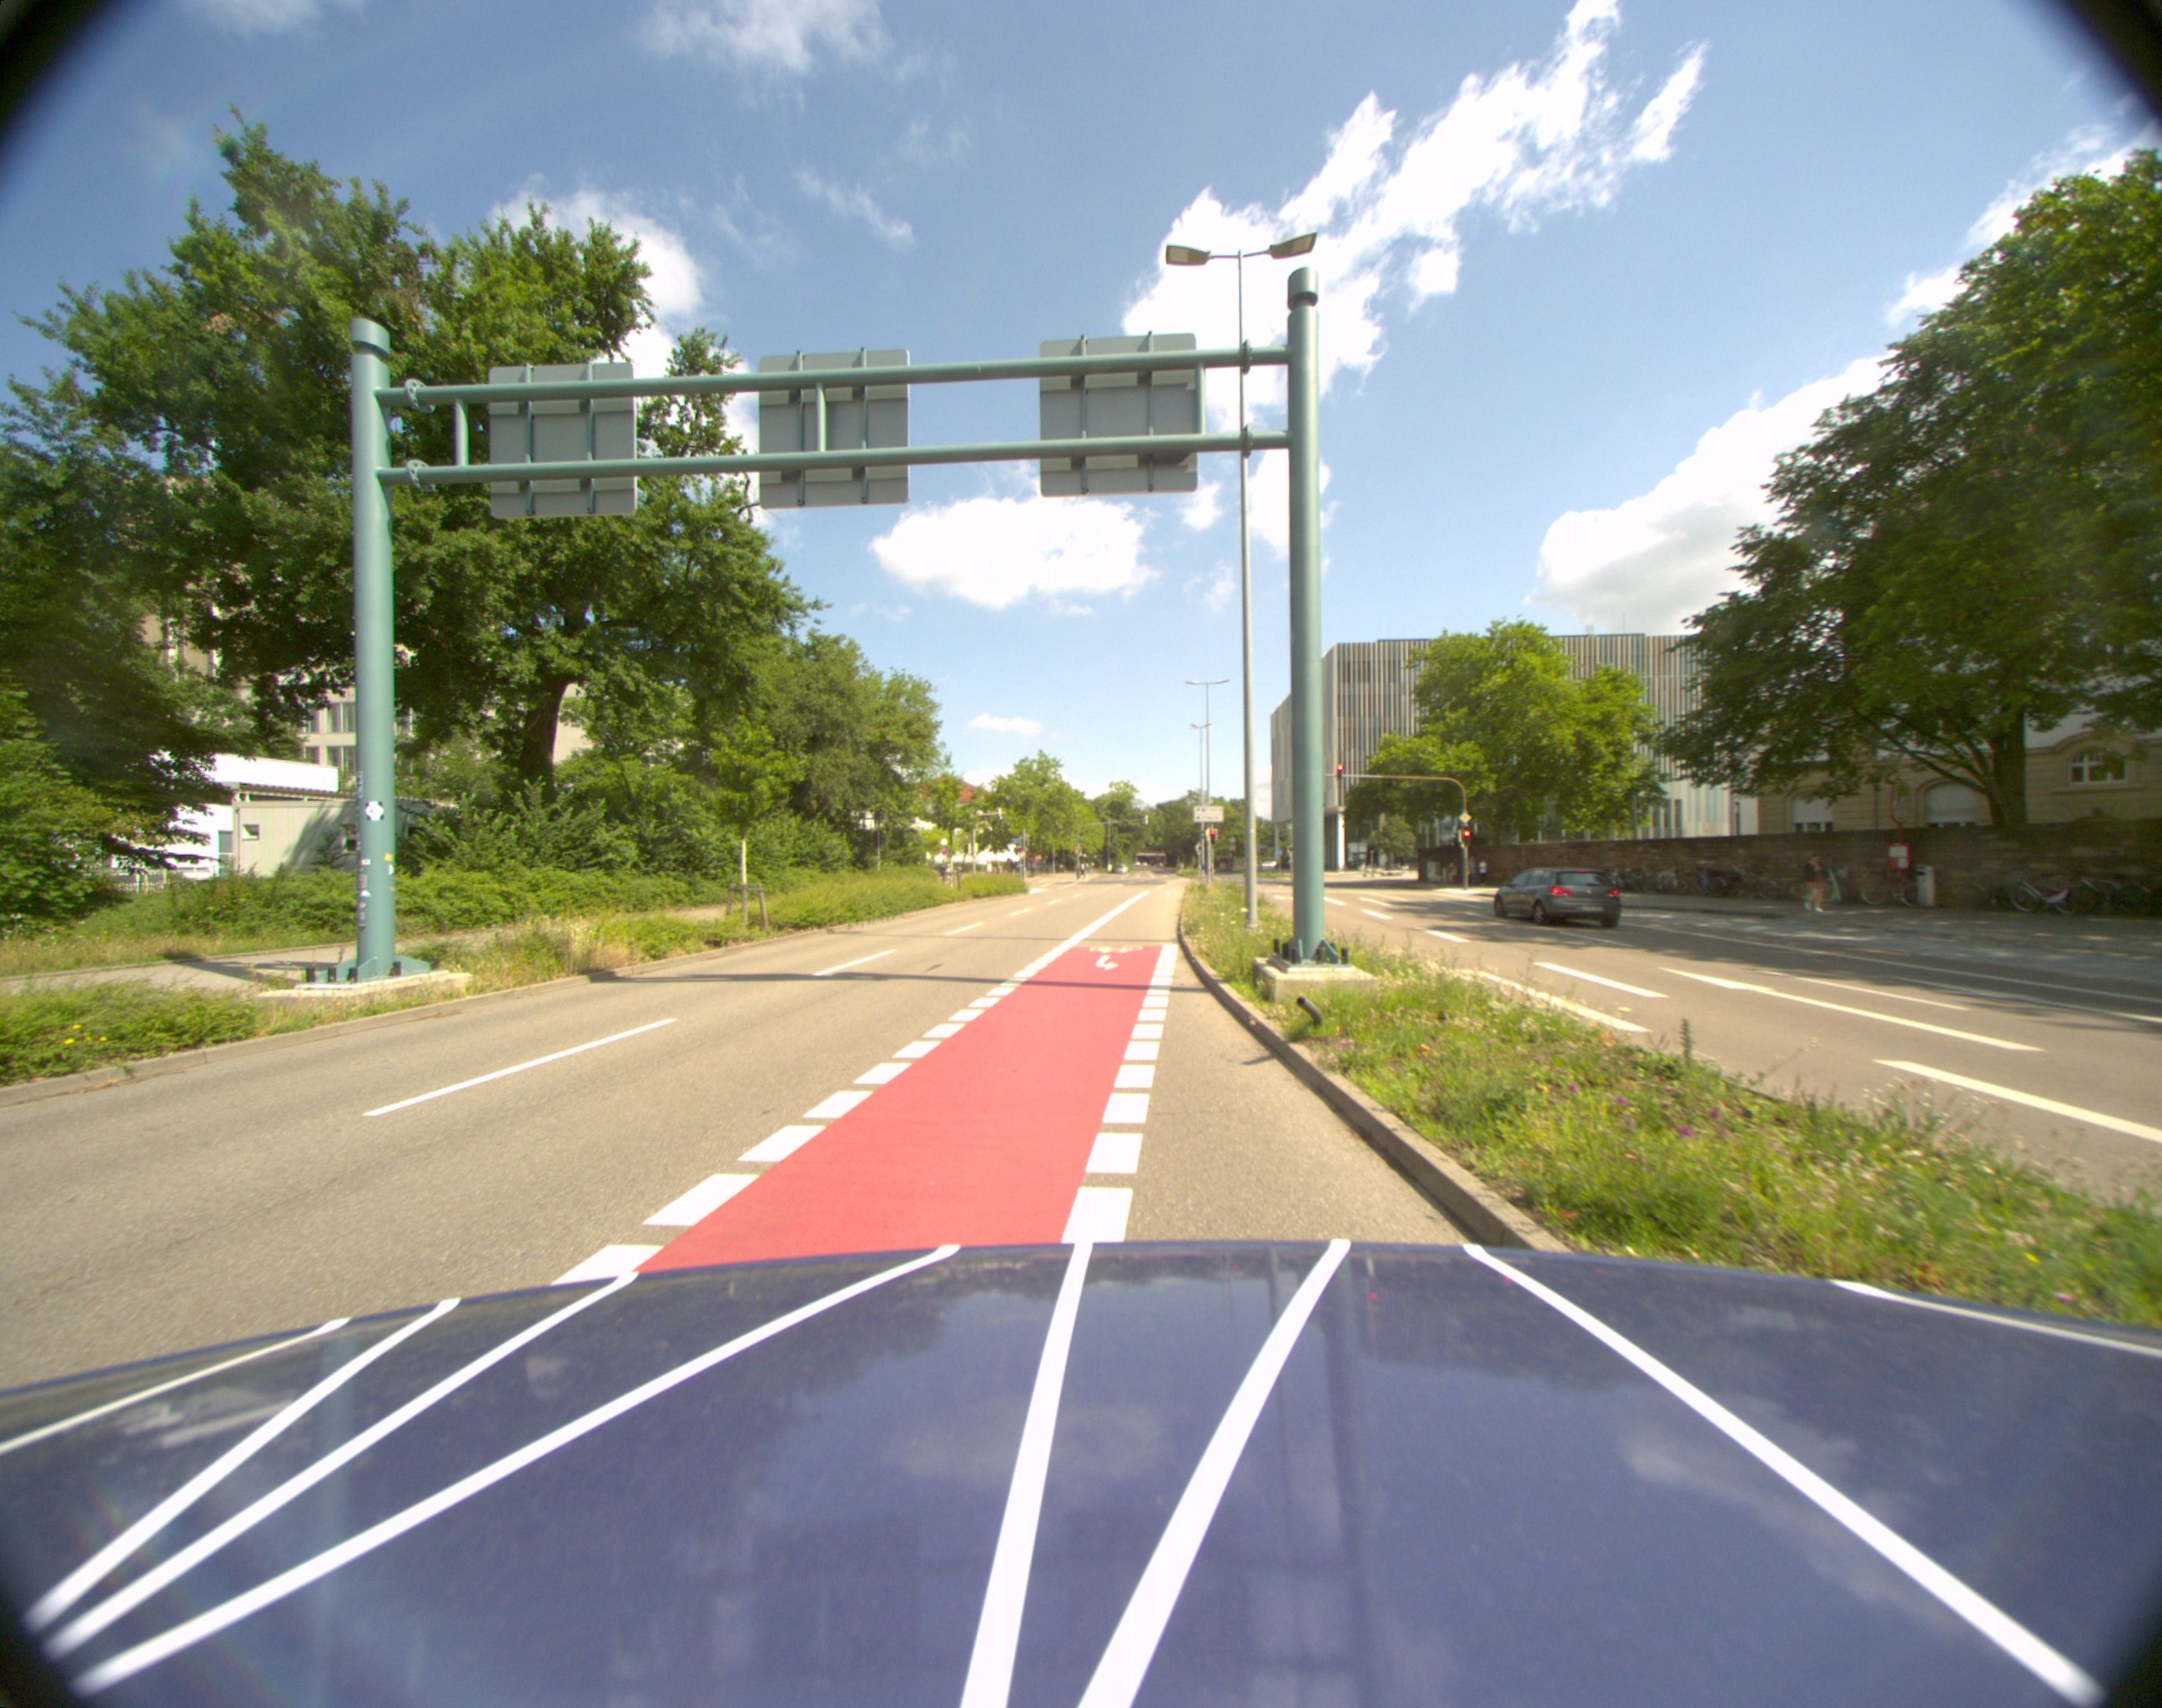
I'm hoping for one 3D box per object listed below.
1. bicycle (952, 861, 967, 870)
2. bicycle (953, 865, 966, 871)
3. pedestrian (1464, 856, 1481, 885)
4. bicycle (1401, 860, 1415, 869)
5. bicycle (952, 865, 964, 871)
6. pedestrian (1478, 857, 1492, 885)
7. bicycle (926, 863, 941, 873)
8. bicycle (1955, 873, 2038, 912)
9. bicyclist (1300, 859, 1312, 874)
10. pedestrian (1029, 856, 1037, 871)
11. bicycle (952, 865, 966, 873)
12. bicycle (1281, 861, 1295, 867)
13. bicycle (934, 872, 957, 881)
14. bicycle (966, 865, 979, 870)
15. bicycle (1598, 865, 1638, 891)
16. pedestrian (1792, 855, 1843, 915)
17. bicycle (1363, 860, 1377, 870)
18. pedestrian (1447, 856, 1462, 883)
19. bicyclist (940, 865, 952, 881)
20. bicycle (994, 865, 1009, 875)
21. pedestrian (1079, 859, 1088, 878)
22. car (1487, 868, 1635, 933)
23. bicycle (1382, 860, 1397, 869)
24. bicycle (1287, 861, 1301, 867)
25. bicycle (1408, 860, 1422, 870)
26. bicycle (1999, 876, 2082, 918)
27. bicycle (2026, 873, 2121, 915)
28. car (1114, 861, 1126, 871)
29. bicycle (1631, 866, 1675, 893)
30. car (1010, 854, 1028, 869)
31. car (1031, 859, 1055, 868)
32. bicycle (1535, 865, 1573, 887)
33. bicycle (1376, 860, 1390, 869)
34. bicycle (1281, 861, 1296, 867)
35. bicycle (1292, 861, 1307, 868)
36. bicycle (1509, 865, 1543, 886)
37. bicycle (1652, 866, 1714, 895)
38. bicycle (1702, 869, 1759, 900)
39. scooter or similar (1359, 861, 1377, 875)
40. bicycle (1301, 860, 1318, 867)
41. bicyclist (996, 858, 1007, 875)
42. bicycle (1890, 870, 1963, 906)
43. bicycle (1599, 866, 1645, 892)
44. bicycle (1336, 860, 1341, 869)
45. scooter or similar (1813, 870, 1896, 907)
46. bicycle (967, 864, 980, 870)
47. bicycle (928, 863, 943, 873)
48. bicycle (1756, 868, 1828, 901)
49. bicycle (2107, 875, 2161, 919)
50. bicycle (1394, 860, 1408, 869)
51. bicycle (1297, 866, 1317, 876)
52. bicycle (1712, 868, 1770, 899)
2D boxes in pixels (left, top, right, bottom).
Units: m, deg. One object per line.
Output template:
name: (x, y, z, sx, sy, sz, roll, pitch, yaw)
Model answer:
bicycle: (-14.877, 1.394, 92.855, 1.672, 1.090, 0.627, 0, 0, 0)
bicycle: (-16.805, 1.878, 104.738, 1.672, 0.785, 0.627, 0, 0, -1)
pedestrian: (22.162, 0.910, 43.029, 0.642, 1.641, 0.731, 0, 0, 2)
bicycle: (36.939, 1.180, 85.770, 0.720, 1.090, 2.223, -1, 0, 45)
bicycle: (-16.835, 1.875, 104.025, 1.672, 0.785, 0.627, 0, 0, -1)
pedestrian: (22.942, 0.964, 43.146, 0.477, 1.531, 0.616, 0, 0, 2)
bicycle: (-17.248, 1.638, 89.030, 1.672, 1.090, 0.627, 0, 0, 0)
bicycle: (23.775, 0.977, 19.765, 0.367, 0.949, 1.401, -1, 0, -7)
bicyclist: (21.905, 1.194, 74.046, 0.944, 1.456, 0.633, 0, 0, 39)
pedestrian: (-5.210, 1.065, 82.310, 0.741, 1.640, 0.640, 0, 0, 13)
bicycle: (-15.205, 1.901, 94.706, 1.672, 0.979, 0.627, 0, 0, 0)
bicycle: (35.077, 1.717, 128.843, 2.216, 1.083, 0.722, 0, 0, 0)
bicycle: (-11.072, 1.838, 62.131, 1.755, 0.771, 0.445, -1, 0, -5)
bicycle: (-14.953, 1.842, 104.927, 1.672, 0.729, 0.627, 0, 0, 0)
bicycle: (23.353, 1.029, 33.084, 0.371, 1.042, 1.881, 0, 0, -1)
pedestrian: (20.358, 0.849, 21.022, 0.658, 1.600, 0.744, -1, 0, 0)
bicycle: (34.284, 1.320, 90.227, 0.720, 1.090, 2.223, -1, 0, 45)
pedestrian: (22.781, 0.957, 46.385, 0.561, 1.641, 0.727, 0, 0, 2)
bicyclist: (-11.043, 1.543, 62.134, 0.931, 1.341, 0.445, -1, 0, -5)
bicycle: (-7.296, 1.465, 69.839, 0.621, 0.828, 1.511, -1, 0, -42)
pedestrian: (0.275, 1.417, 76.052, 0.701, 1.815, 0.942, 2, 1, 6)
car: (12.375, 1.133, 19.926, 1.703, 1.436, 4.148, 1, 0, 8)
bicycle: (35.689, 1.217, 87.873, 0.720, 1.090, 2.223, -1, 0, 45)
bicycle: (35.168, 1.667, 125.519, 2.216, 1.090, 0.722, 0, 0, 0)
bicycle: (37.370, 1.184, 84.977, 0.720, 1.090, 2.223, -1, 0, 45)
bicycle: (23.090, 1.014, 18.322, 0.367, 0.949, 1.627, -1, 0, 17)
bicycle: (23.884, 0.952, 18.315, 0.367, 0.949, 1.401, -1, 0, -7)
car: (5.999, 1.842, 117.050, 1.708, 1.321, 4.001, 2, 0, 2)
bicycle: (23.415, 1.022, 31.142, 0.371, 1.042, 1.881, 0, 0, -1)
car: (-8.398, 1.020, 103.256, 1.998, 2.002, 4.903, 0, 0, 2)
car: (-6.280, 1.636, 126.610, 3.998, 1.416, 1.757, 0, 0, -3)
bicycle: (23.224, 1.076, 37.340, 0.631, 1.042, 1.881, 0, 0, -1)
bicycle: (35.111, 1.225, 88.426, 0.720, 1.090, 2.223, -1, 0, 45)
bicycle: (34.938, 1.711, 128.043, 2.216, 1.090, 0.722, 0, 0, 0)
bicycle: (34.372, 1.584, 119.691, 2.216, 1.090, 0.722, 0, 0, 0)
bicycle: (23.260, 1.104, 39.781, 0.631, 1.042, 1.881, 0, 0, -1)
bicycle: (23.158, 1.003, 29.273, 0.594, 1.042, 1.878, -1, 0, -17)
bicycle: (23.111, 1.055, 27.075, 0.373, 1.042, 1.881, 0, 0, -1)
scooter or similar: (25.047, 1.217, 66.305, 1.504, 1.150, 0.503, 0, 0, -20)
bicycle: (34.122, 1.392, 113.529, 2.216, 1.090, 0.722, 0, 0, 0)
bicyclist: (-7.301, 1.137, 69.840, 0.614, 1.498, 0.916, -1, 0, -42)
bicycle: (23.671, 0.947, 21.297, 0.367, 0.949, 1.401, -1, 0, -7)
bicycle: (22.774, 1.037, 32.020, 0.593, 1.042, 1.881, 0, 0, -1)
bicycle: (31.684, 1.324, 93.398, 0.547, 1.090, 1.636, 0, 0, 17)
scooter or similar: (23.558, 1.020, 23.180, 0.581, 1.042, 1.881, 0, 0, -1)
bicycle: (-14.758, 1.798, 104.037, 1.672, 0.729, 0.627, 0, 0, 0)
bicycle: (-17.216, 1.665, 89.755, 1.672, 1.090, 0.627, 0, 0, 0)
bicycle: (23.477, 0.990, 25.145, 0.581, 1.042, 1.881, 0, 0, -1)
bicycle: (23.981, 0.950, 16.878, 0.367, 0.949, 1.401, -1, 0, -7)
bicycle: (36.384, 1.198, 86.401, 0.720, 1.090, 2.223, -1, 0, 45)
bicycle: (22.036, 1.655, 74.005, 1.770, 0.887, 0.639, -1, 0, 40)
bicycle: (23.513, 1.022, 27.100, 0.395, 1.042, 1.881, 0, 0, -1)
